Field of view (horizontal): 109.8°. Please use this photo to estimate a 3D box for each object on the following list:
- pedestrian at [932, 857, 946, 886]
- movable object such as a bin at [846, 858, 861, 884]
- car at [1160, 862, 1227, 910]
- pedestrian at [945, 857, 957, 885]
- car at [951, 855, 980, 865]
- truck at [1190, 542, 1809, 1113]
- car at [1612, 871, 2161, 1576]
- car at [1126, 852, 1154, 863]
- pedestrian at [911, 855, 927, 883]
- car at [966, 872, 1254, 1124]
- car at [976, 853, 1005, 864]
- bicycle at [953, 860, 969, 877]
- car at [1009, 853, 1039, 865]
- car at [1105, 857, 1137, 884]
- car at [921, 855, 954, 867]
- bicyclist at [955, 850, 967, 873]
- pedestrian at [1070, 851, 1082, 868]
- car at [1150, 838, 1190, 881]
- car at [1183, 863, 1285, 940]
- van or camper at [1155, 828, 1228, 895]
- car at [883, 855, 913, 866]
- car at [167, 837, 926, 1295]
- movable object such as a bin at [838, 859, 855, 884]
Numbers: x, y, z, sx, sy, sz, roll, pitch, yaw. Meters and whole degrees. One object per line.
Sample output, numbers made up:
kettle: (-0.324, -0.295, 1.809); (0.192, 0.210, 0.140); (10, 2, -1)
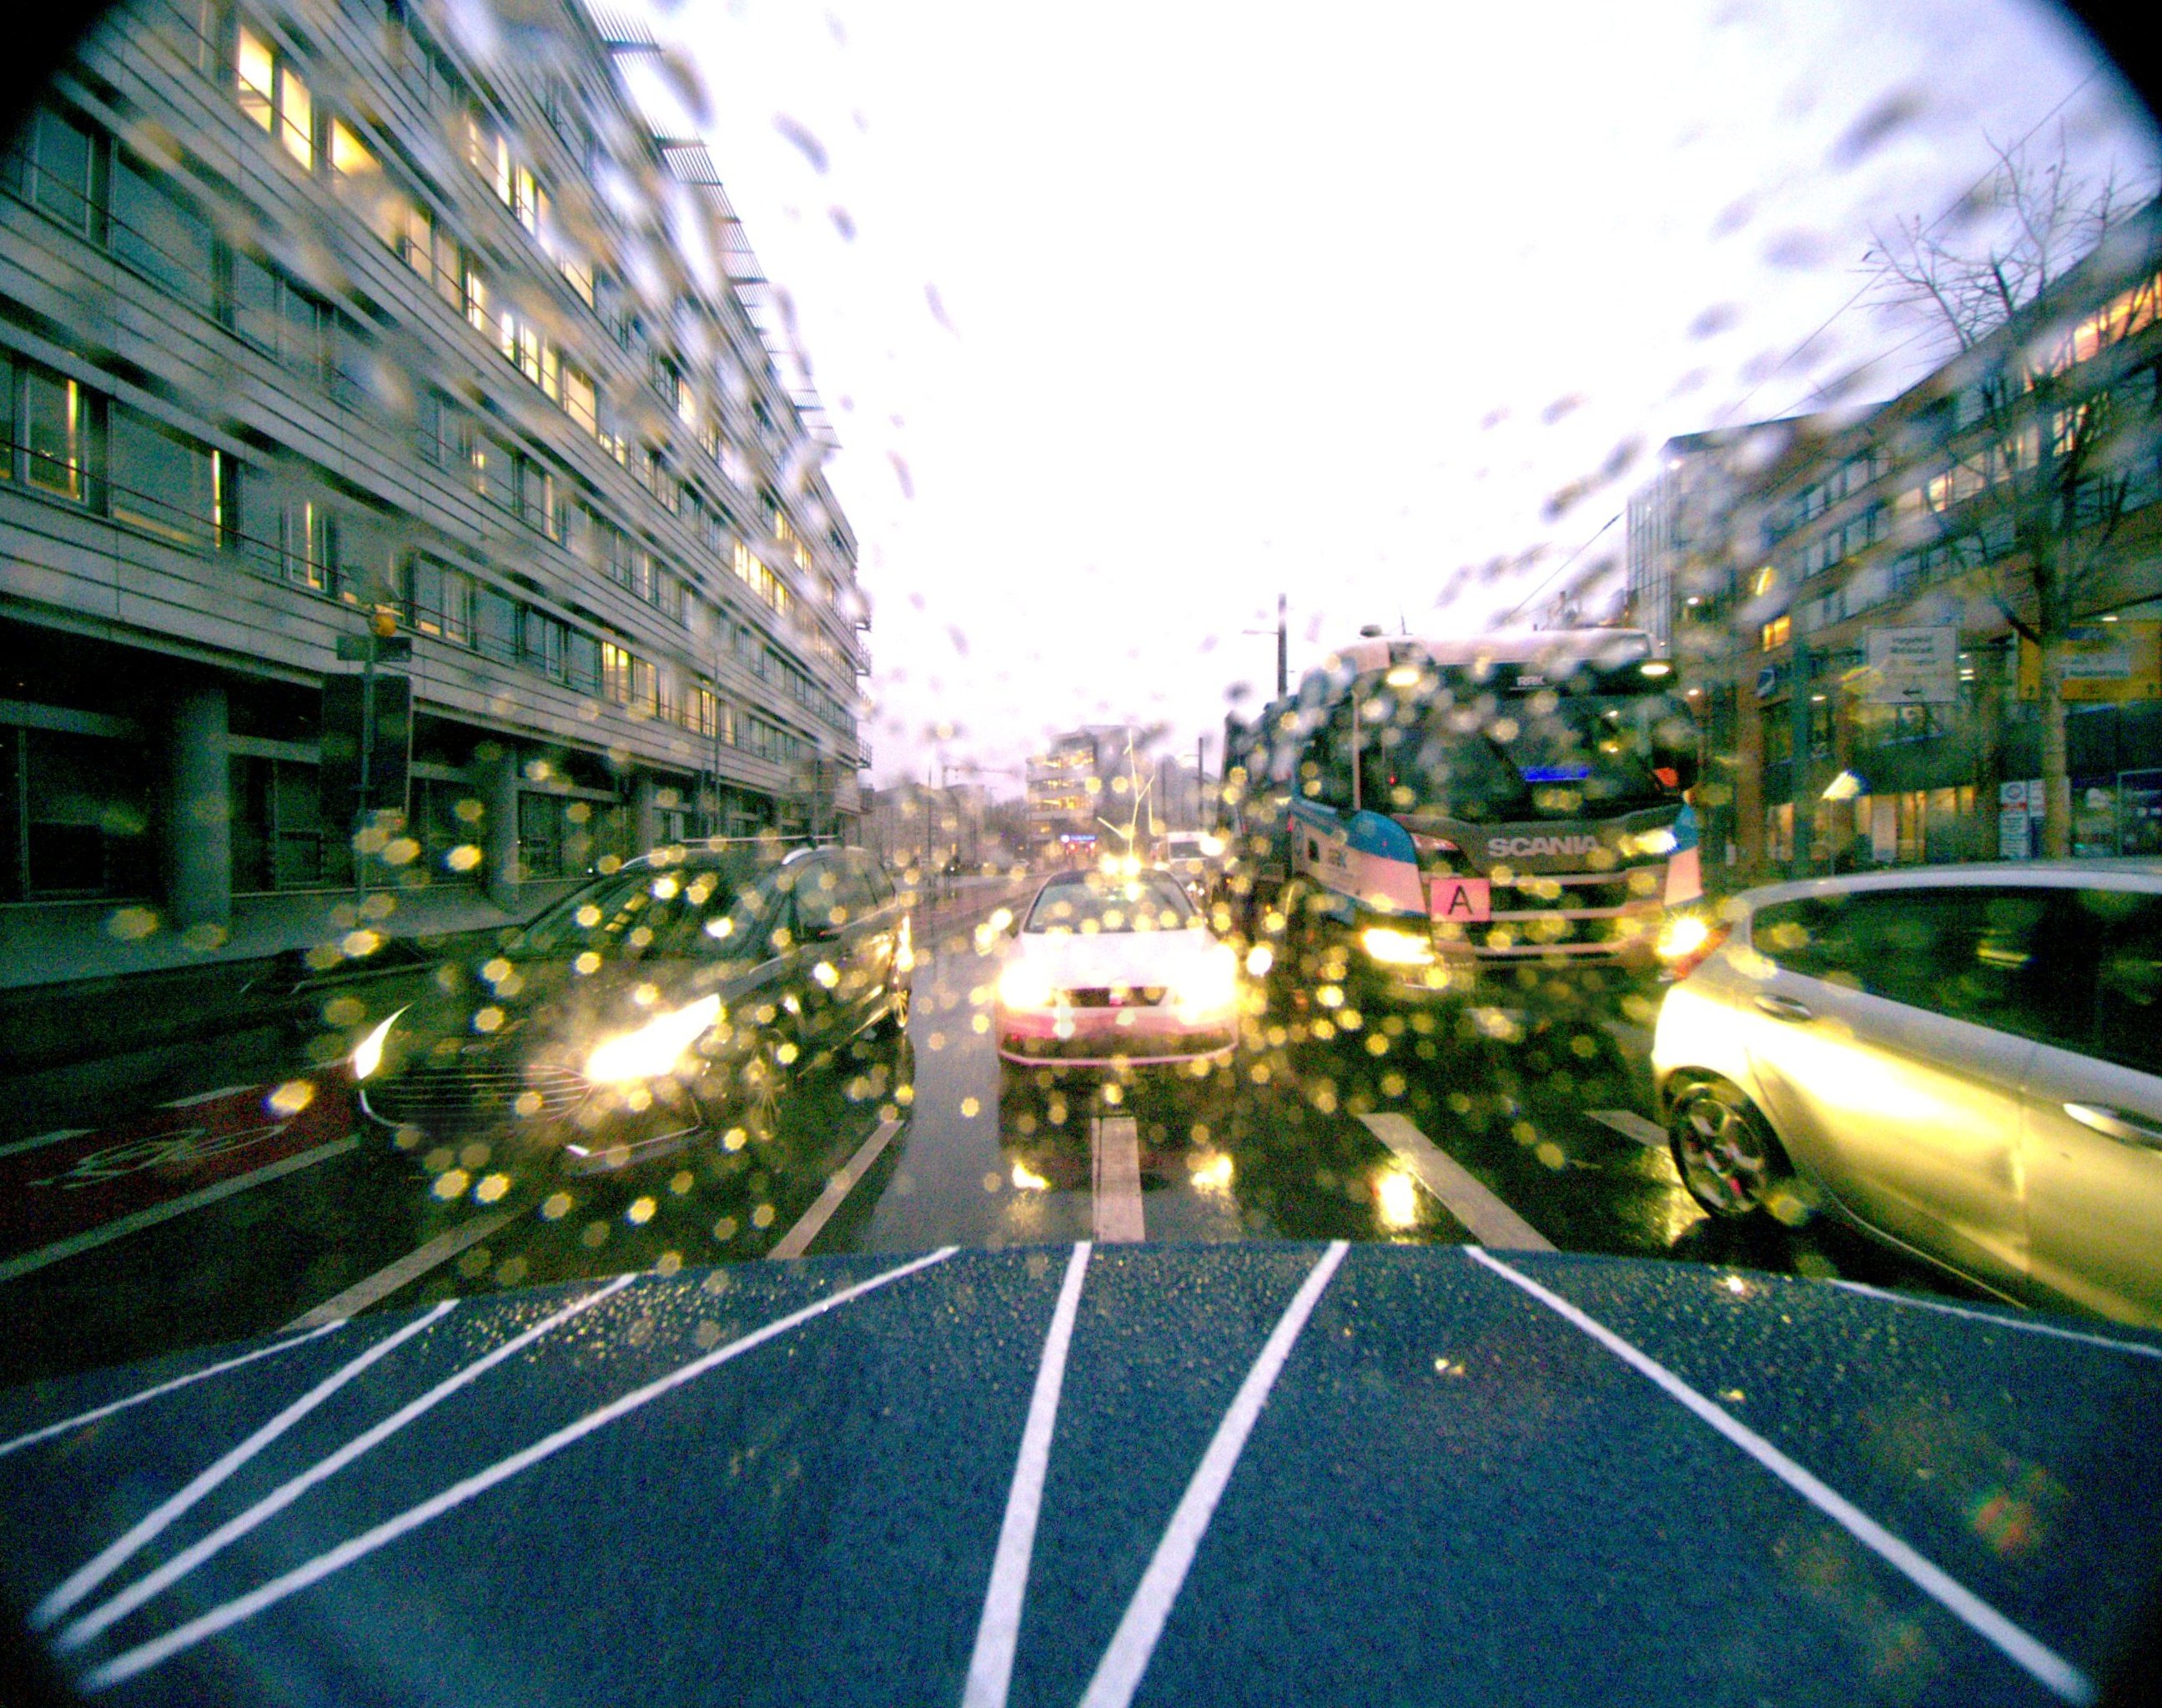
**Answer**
pedestrian: (-8.652, 1.057, 46.310); (0.651, 1.692, 0.884); (1, 1, -3)
movable object such as a bin: (-13.447, 0.995, 44.914); (0.666, 1.468, 0.840); (-1, 1, -2)
car: (3.513, 0.962, 24.337); (1.759, 1.337, 4.057); (-1, 0, 3)
pedestrian: (-7.959, 1.044, 46.458); (0.616, 1.659, 0.884); (1, 1, -3)
car: (-16.976, 0.860, 111.928); (3.759, 1.528, 1.783); (0, 0, 17)
truck: (3.219, -0.180, 8.615); (2.846, 3.612, 7.526); (-1, 0, 0)
car: (3.228, 0.856, 1.404); (1.709, 1.439, 3.999); (-2, 1, 1)
car: (9.167, 0.553, 117.524); (3.991, 1.759, 1.815); (-1, 0, 20)
pedestrian: (-9.979, 0.897, 46.903); (0.747, 1.692, 0.969); (2, 1, -3)
car: (0.206, 0.950, 6.725); (1.782, 1.464, 3.943); (-1, 0, 1)
car: (-13.071, 0.705, 110.388); (3.759, 1.528, 1.783); (0, 0, 17)
bicycle: (-9.259, 1.113, 58.693); (0.680, 1.191, 1.762); (0, 1, 9)
car: (-8.186, 0.677, 109.197); (3.918, 1.699, 1.782); (-1, 0, 15)
car: (2.992, 1.230, 57.946); (2.169, 1.744, 4.540); (0, 2, 0)
car: (-21.450, 1.032, 113.417); (4.368, 1.750, 2.002); (-1, 0, 17)
bicyclist: (-9.260, 0.592, 58.642); (0.671, 1.787, 0.807); (0, 1, 9)
pedestrian: (-0.569, 0.666, 89.722); (1.118, 2.002, 1.034); (0, 1, 15)
car: (6.140, 0.353, 53.056); (2.129, 2.847, 5.813); (-1, 0, 0)
car: (3.496, 1.030, 18.035); (1.634, 1.515, 3.941); (-1, 1, 0)
van or camper: (4.493, 0.272, 31.963); (2.153, 2.517, 5.898); (-1, 0, 0)
car: (-27.893, 0.980, 115.772); (3.996, 1.663, 2.002); (-1, 0, 17)
car: (-2.634, 0.859, 5.389); (1.887, 1.800, 4.671); (-2, 0, 2)
movable object such as a bin: (-13.287, 0.975, 43.087); (0.666, 1.420, 0.840); (-1, 1, -2)
